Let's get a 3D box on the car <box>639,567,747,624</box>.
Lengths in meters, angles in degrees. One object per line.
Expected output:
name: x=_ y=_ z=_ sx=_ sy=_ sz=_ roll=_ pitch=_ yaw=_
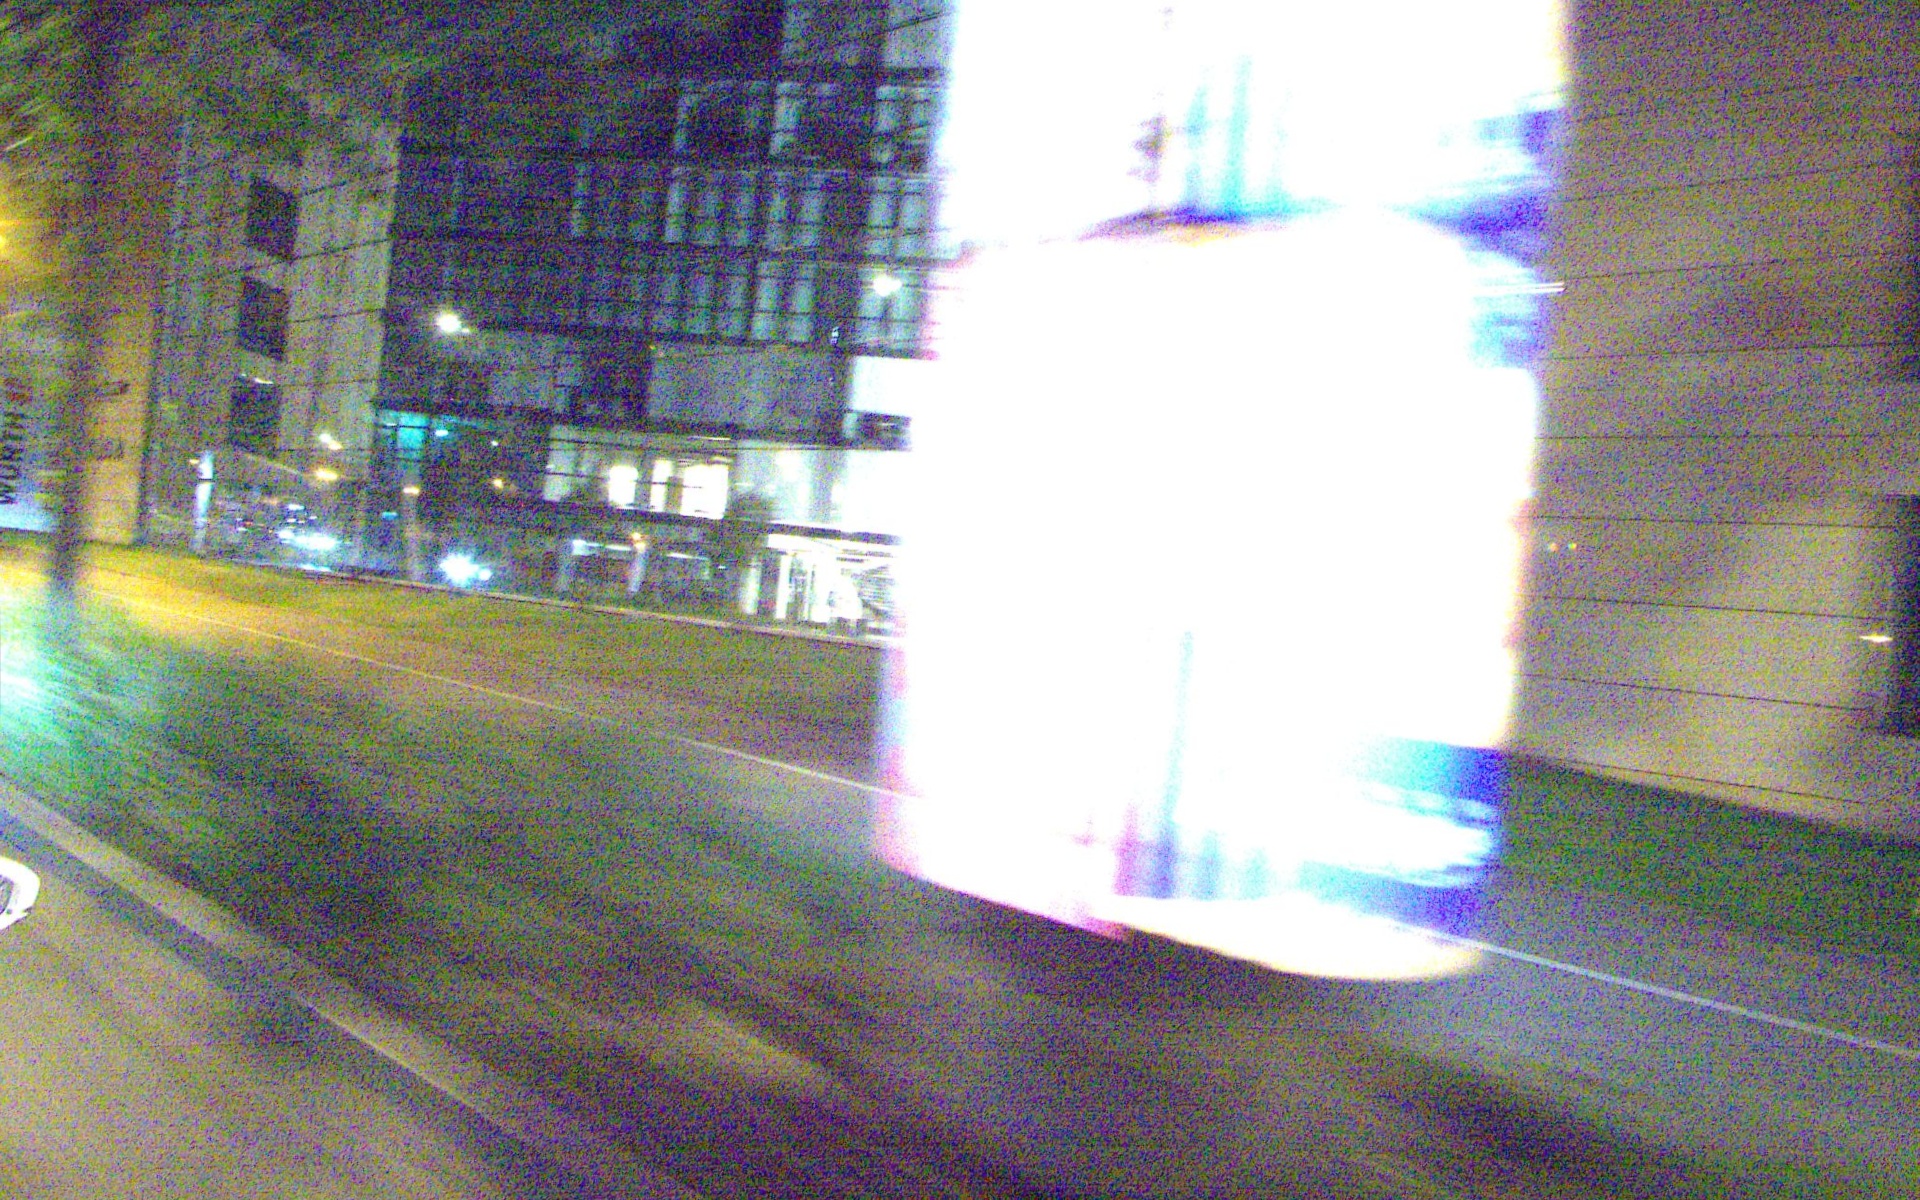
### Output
car: x=-6.415 y=-0.063 z=24.491 sx=1.276 sy=1.098 sz=3.174 roll=8 pitch=-1 yaw=9

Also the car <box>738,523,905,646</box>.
car: x=-2.513 y=-0.212 z=19.306 sx=1.962 sy=1.885 sz=3.779 roll=8 pitch=0 yaw=9

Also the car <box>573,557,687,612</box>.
car: x=-8.471 y=-0.358 z=26.102 sx=1.297 sy=1.107 sz=3.439 roll=8 pitch=-1 yaw=9
